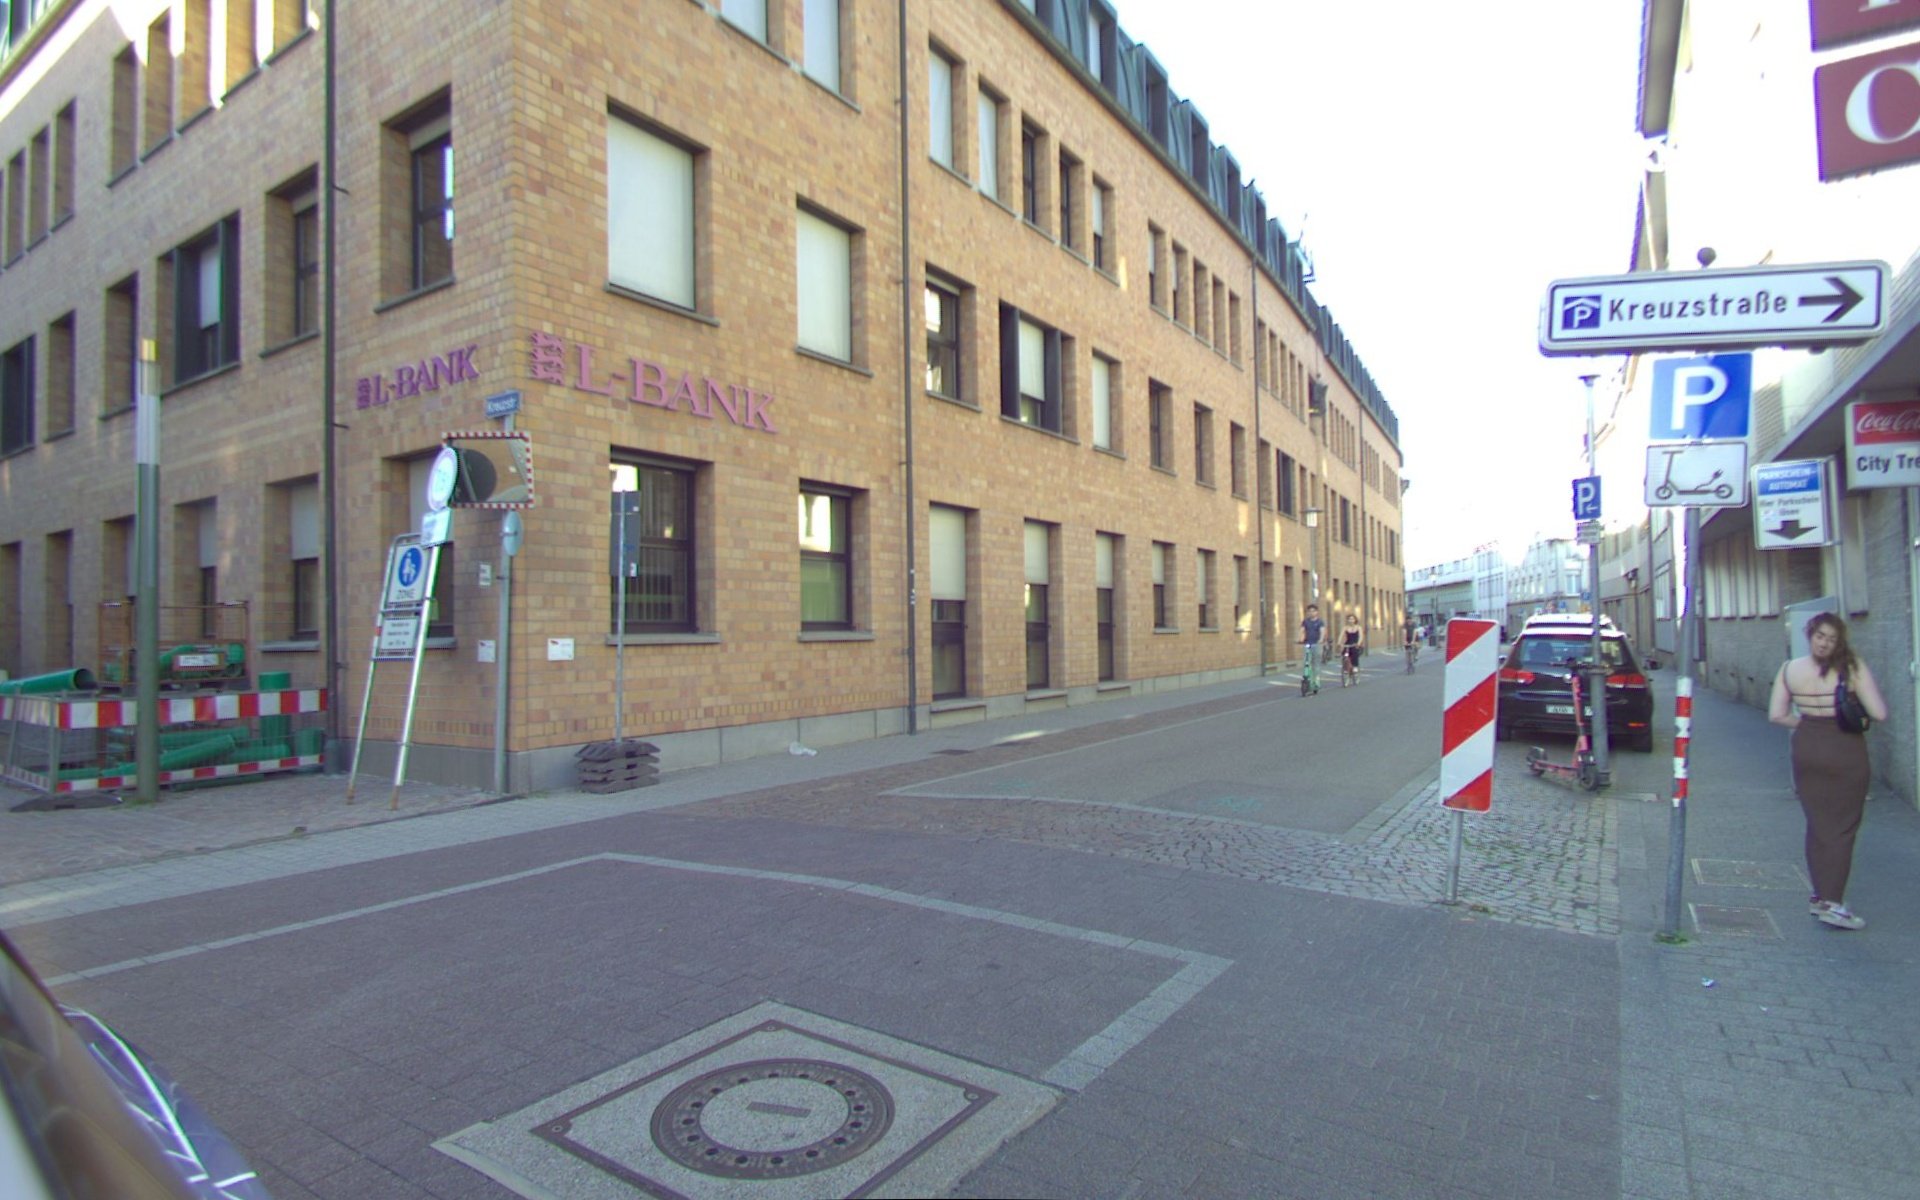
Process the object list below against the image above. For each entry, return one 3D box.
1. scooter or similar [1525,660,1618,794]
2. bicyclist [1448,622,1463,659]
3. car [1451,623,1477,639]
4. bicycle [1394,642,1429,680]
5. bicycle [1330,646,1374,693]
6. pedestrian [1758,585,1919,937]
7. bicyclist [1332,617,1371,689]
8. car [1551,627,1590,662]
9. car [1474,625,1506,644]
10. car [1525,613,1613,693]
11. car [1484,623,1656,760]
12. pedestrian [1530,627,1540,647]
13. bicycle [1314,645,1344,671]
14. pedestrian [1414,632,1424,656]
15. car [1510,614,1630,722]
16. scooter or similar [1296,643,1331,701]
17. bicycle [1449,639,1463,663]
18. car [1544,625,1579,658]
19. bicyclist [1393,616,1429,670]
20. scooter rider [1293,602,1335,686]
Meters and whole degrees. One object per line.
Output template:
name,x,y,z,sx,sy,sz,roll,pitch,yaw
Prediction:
scooter or similar,5.790,1.174,9.618,0.205,1.193,0.884,-1,-2,-7
bicyclist,20.888,1.715,42.639,0.426,1.509,0.866,-4,-4,30
car,53.312,3.257,107.034,1.920,1.663,3.813,0,-2,19
bicycle,13.510,1.800,30.255,0.572,1.059,1.814,-6,-4,35
bicycle,9.469,1.655,24.407,0.589,1.060,1.780,-5,-4,33
pedestrian,4.372,0.748,4.957,0.525,1.592,0.511,1,-5,-41
bicyclist,9.452,1.277,24.435,0.618,1.679,0.814,-5,-4,33
car,31.761,2.297,52.743,1.687,1.692,3.471,0,-1,30
car,47.941,3.136,91.671,1.920,1.663,3.812,-2,-2,19
car,14.650,1.222,24.299,1.669,1.717,3.968,0,-1,32
car,8.142,1.085,13.504,1.735,1.497,3.769,0,-1,32
pedestrian,43.245,2.771,76.168,0.568,1.490,0.470,-2,-2,26
bicycle,13.660,2.127,37.403,0.640,0.888,2.531,-1,-2,30
pedestrian,30.692,2.935,67.705,0.541,1.556,0.401,-1,-2,32
car,10.936,1.129,18.103,1.669,1.674,4.035,0,-1,32
scooter or similar,7.520,1.516,21.514,0.336,1.195,1.264,-5,-5,33
bicycle,20.873,2.148,42.555,0.434,0.964,1.575,-2,-2,29
car,34.441,2.358,57.965,1.687,1.789,3.617,0,-1,30
bicyclist,13.526,1.291,30.344,0.648,1.570,1.096,-6,-5,36
scooter rider,7.547,0.943,21.560,0.647,1.739,0.694,-3,-4,34
